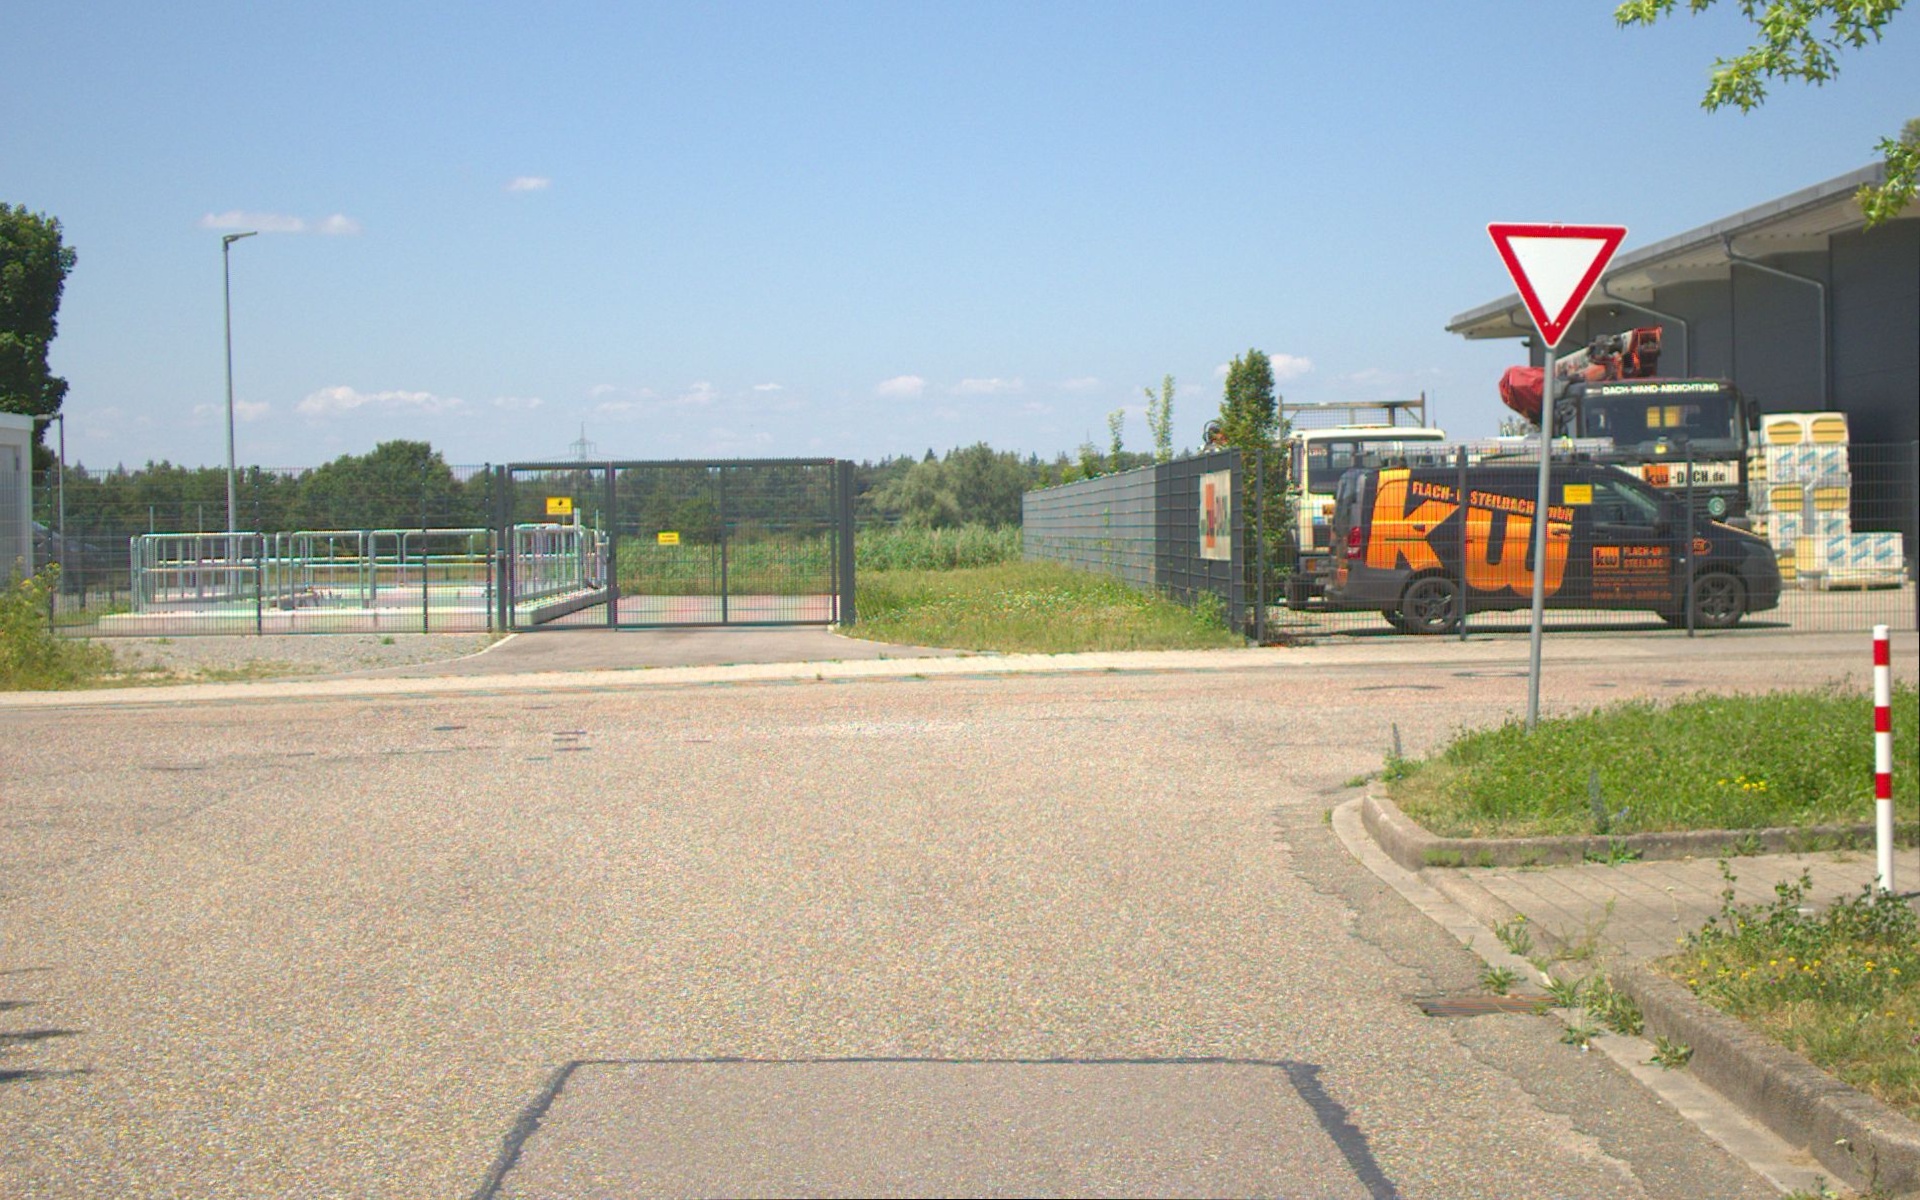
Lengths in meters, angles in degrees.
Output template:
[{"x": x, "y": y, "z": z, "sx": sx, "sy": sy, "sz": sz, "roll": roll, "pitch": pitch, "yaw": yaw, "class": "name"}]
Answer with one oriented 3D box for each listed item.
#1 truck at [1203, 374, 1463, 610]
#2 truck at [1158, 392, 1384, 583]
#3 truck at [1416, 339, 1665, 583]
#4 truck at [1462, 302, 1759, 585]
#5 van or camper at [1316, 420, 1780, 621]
[{"x": 5.160, "y": -1.512, "z": 48.768, "sx": 2.726, "sy": 3.051, "sz": 6.937, "roll": -1, "pitch": 1, "yaw": -1, "class": "truck"}, {"x": 5.073, "y": -1.850, "z": 57.307, "sx": 2.921, "sy": 2.927, "sz": 6.937, "roll": -1, "pitch": 1, "yaw": -1, "class": "truck"}, {"x": 9.929, "y": -2.358, "z": 59.513, "sx": 2.921, "sy": 3.915, "sz": 6.937, "roll": -1, "pitch": 1, "yaw": -1, "class": "truck"}, {"x": 9.623, "y": -2.279, "z": 51.602, "sx": 2.921, "sy": 3.915, "sz": 6.937, "roll": -1, "pitch": 1, "yaw": -1, "class": "truck"}, {"x": 6.677, "y": -0.933, "z": 39.393, "sx": 4.936, "sy": 2.156, "sz": 2.000, "roll": -1, "pitch": 2, "yaw": -1, "class": "van or camper"}]
